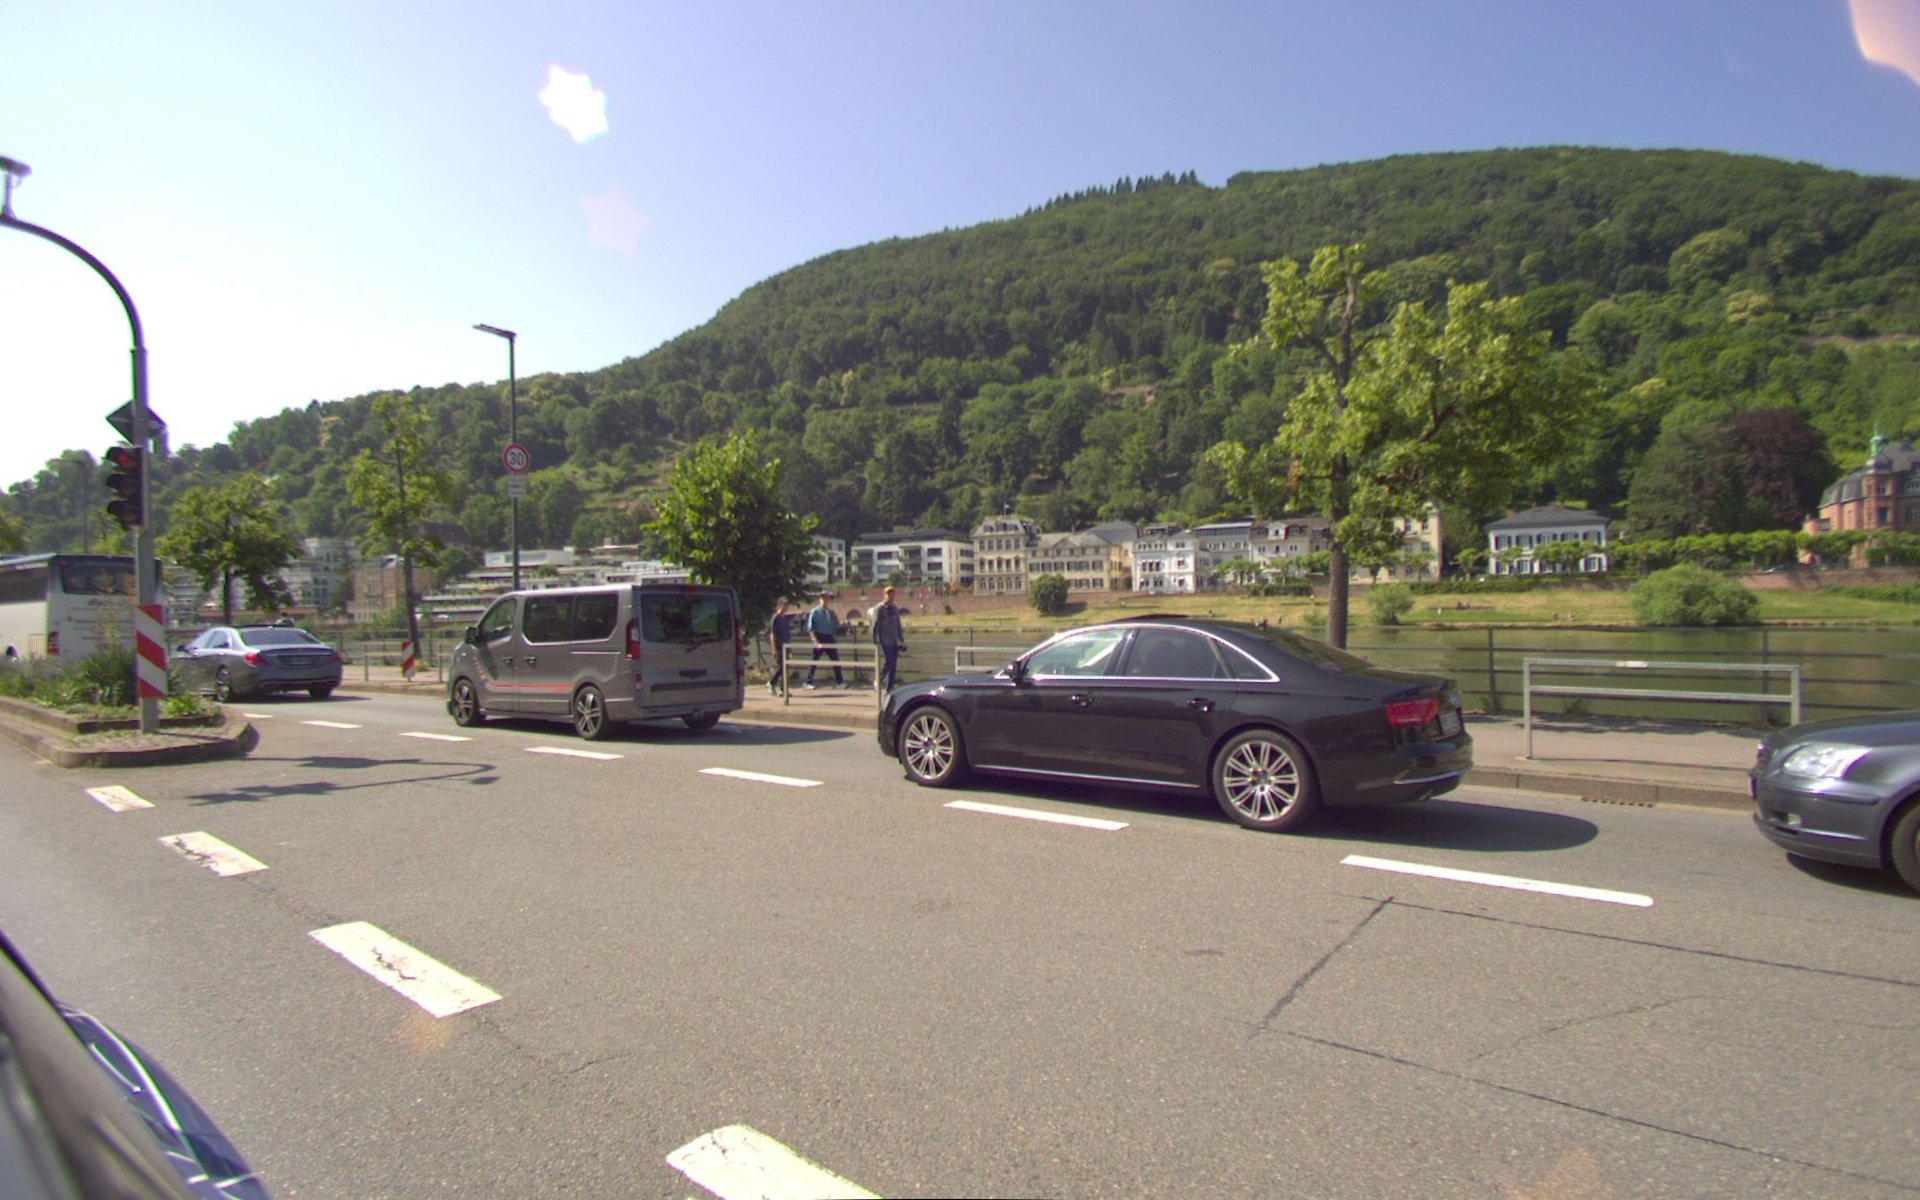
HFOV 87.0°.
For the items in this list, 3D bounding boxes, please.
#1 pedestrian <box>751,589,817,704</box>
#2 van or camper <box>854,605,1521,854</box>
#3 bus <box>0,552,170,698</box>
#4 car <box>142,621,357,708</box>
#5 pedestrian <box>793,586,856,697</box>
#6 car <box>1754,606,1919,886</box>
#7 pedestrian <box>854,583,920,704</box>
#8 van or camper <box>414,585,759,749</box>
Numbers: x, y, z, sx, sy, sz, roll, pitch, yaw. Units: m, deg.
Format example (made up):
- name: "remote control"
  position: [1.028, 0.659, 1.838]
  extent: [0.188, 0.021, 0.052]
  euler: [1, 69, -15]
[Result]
- name: "pedestrian"
  position: [-2.912, 0.754, 16.781]
  extent: [0.693, 1.817, 0.756]
  euler: [-2, 1, 31]
- name: "van or camper"
  position: [1.625, 0.836, 8.392]
  extent: [5.058, 1.488, 1.974]
  euler: [-1, -2, 38]
- name: "bus"
  position: [-27.304, 0.712, 29.334]
  extent: [12.937, 3.591, 2.612]
  euler: [-1, -1, 31]
- name: "car"
  position: [-14.884, 1.307, 21.099]
  extent: [5.144, 1.611, 1.976]
  euler: [-2, -4, 35]
- name: "pedestrian"
  position: [-2.371, 0.713, 17.754]
  extent: [0.693, 1.872, 0.756]
  euler: [-2, 1, 31]
- name: "car"
  position: [6.758, 0.738, 4.878]
  extent: [4.564, 1.419, 1.933]
  euler: [-2, -3, 38]
- name: "pedestrian"
  position: [-1.178, 0.686, 16.360]
  extent: [0.693, 1.872, 0.756]
  euler: [-2, 1, 31]
- name: "van or camper"
  position: [-5.298, 0.846, 14.021]
  extent: [5.169, 1.887, 1.976]
  euler: [-2, -2, 36]
